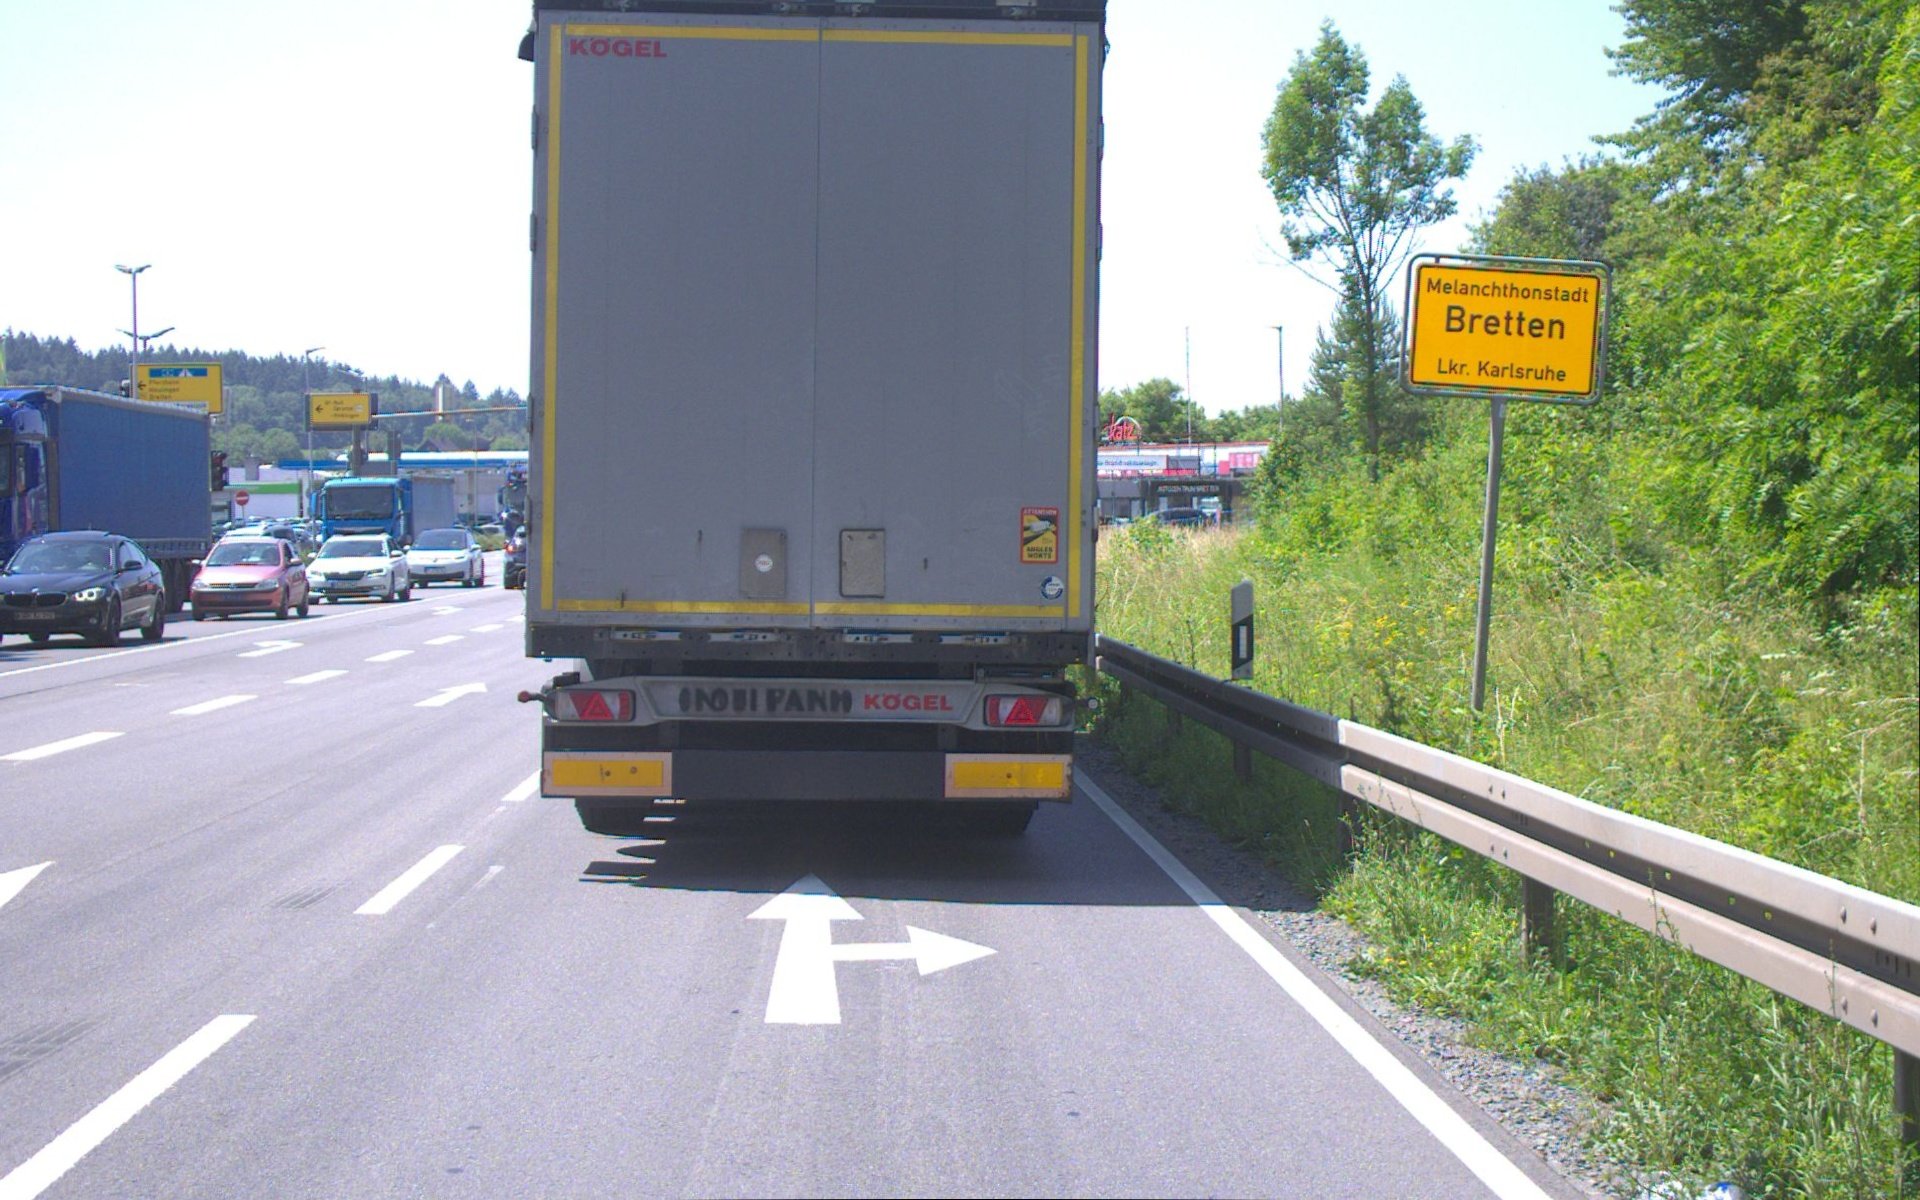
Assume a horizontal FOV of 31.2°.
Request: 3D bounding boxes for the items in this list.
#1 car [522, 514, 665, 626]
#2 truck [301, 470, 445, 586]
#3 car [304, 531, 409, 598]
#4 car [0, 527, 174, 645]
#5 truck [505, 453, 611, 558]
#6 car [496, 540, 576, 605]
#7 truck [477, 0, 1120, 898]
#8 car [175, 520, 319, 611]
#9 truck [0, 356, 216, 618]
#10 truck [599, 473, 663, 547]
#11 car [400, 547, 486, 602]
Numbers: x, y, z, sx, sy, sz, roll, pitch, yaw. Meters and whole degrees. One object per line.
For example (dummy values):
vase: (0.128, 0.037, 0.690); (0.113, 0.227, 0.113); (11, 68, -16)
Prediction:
car: (-5.742, -0.489, 54.311); (1.804, 1.664, 4.292); (1, 1, 0)
truck: (-17.756, -2.155, 104.703); (2.846, 3.340, 11.483); (0, 1, -2)
car: (-13.043, -0.778, 74.508); (1.699, 1.410, 4.563); (0, 1, -3)
car: (-12.125, -0.196, 46.601); (1.919, 1.475, 4.687); (-2, 1, -1)
truck: (-17.492, -4.056, 150.691); (3.145, 4.334, 17.544); (0, 1, -2)
car: (-10.882, -0.734, 88.466); (1.793, 1.621, 4.370); (0, 1, -4)
truck: (-1.102, -1.051, 23.460); (2.755, 4.623, 16.657); (1, 0, -3)
car: (-12.499, -0.616, 60.461); (1.767, 1.441, 3.776); (-4, 1, -2)
truck: (-16.713, -1.926, 62.958); (2.968, 4.162, 16.576); (0, 1, -1)
truck: (-18.124, -4.926, 189.862); (2.934, 3.936, 14.239); (0, 1, -3)
car: (-13.857, -0.672, 92.265); (1.761, 1.423, 4.180); (1, 0, -2)
